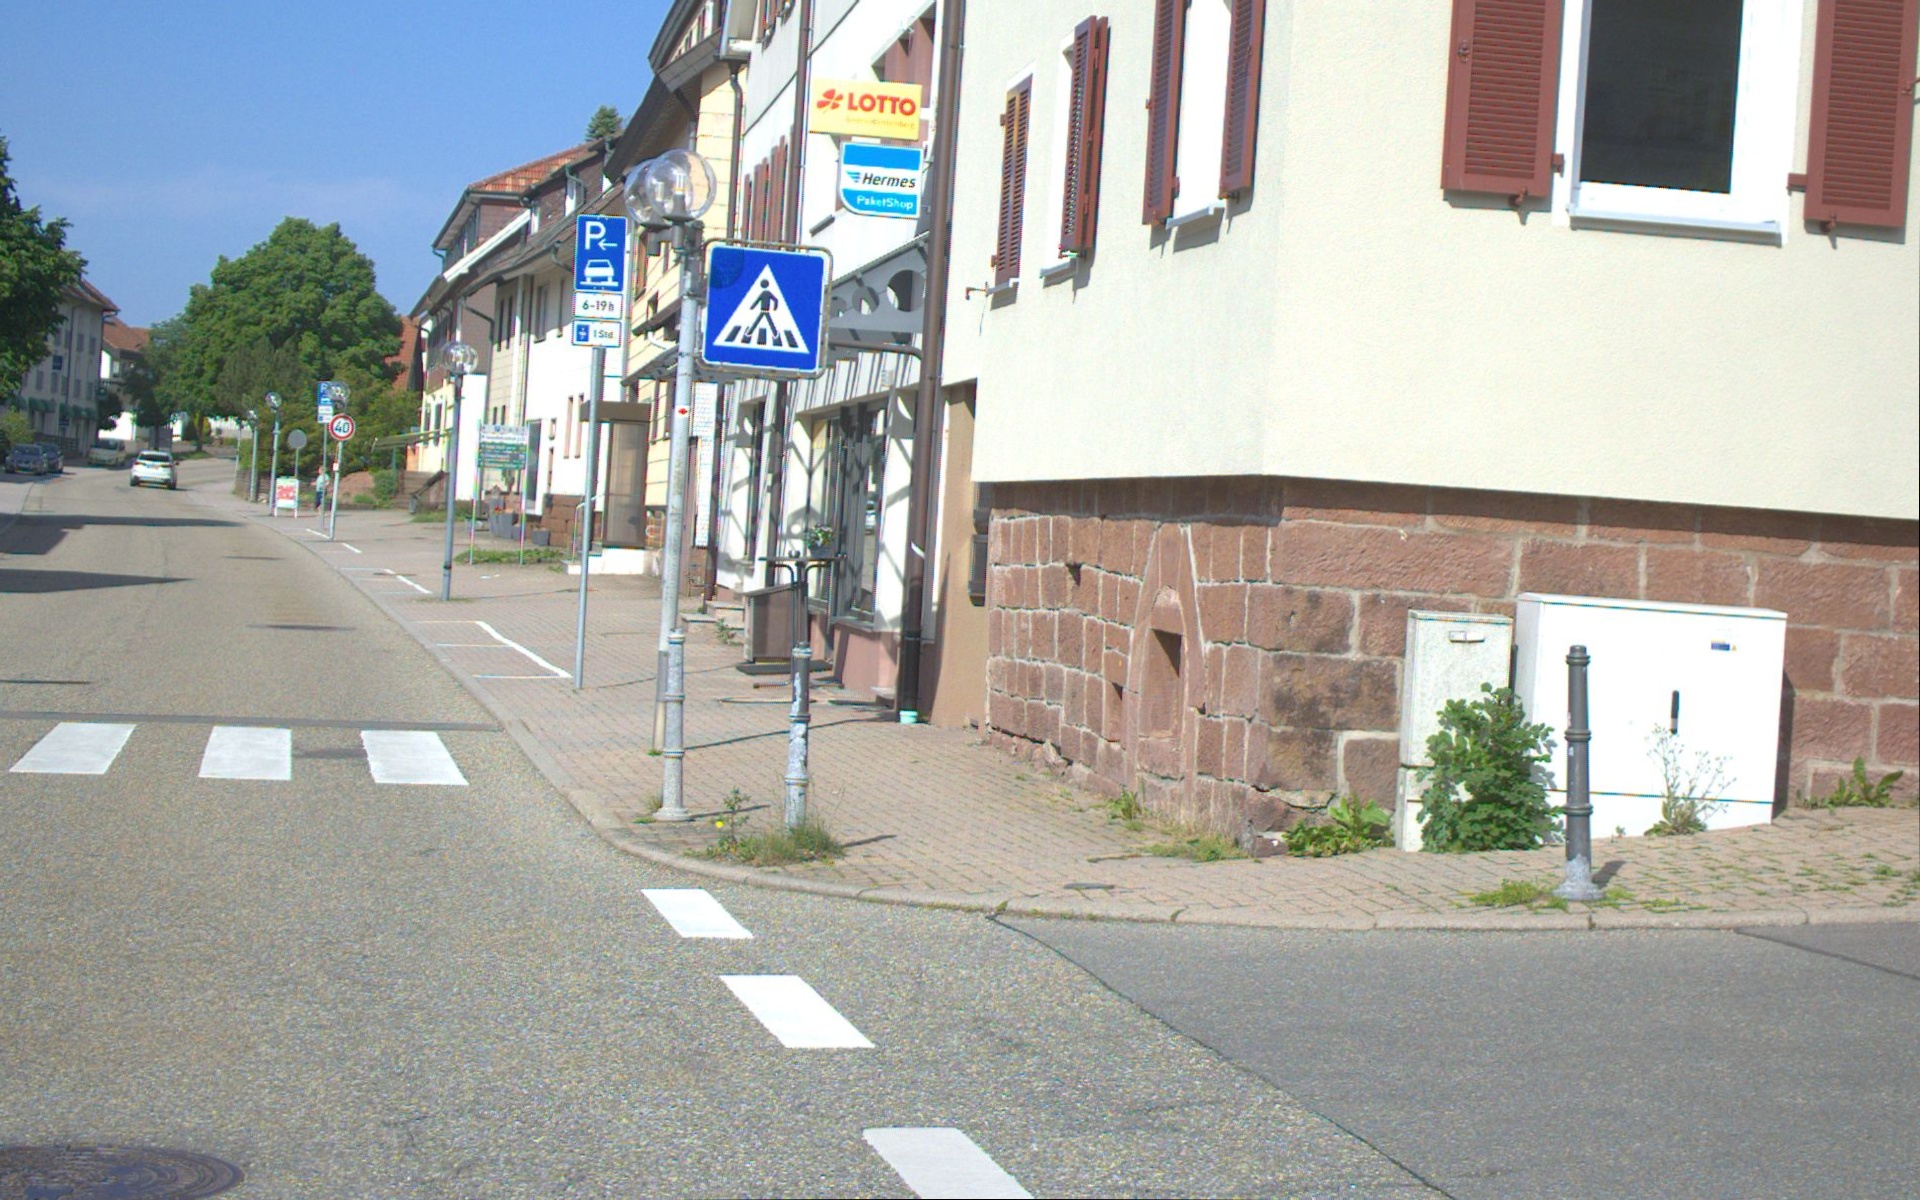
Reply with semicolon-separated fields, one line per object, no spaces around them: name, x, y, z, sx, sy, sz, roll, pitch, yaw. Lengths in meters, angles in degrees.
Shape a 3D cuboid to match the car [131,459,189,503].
car;-37.737;-5.620;162.252;2.494;2.007;4.306;1;1;-12
